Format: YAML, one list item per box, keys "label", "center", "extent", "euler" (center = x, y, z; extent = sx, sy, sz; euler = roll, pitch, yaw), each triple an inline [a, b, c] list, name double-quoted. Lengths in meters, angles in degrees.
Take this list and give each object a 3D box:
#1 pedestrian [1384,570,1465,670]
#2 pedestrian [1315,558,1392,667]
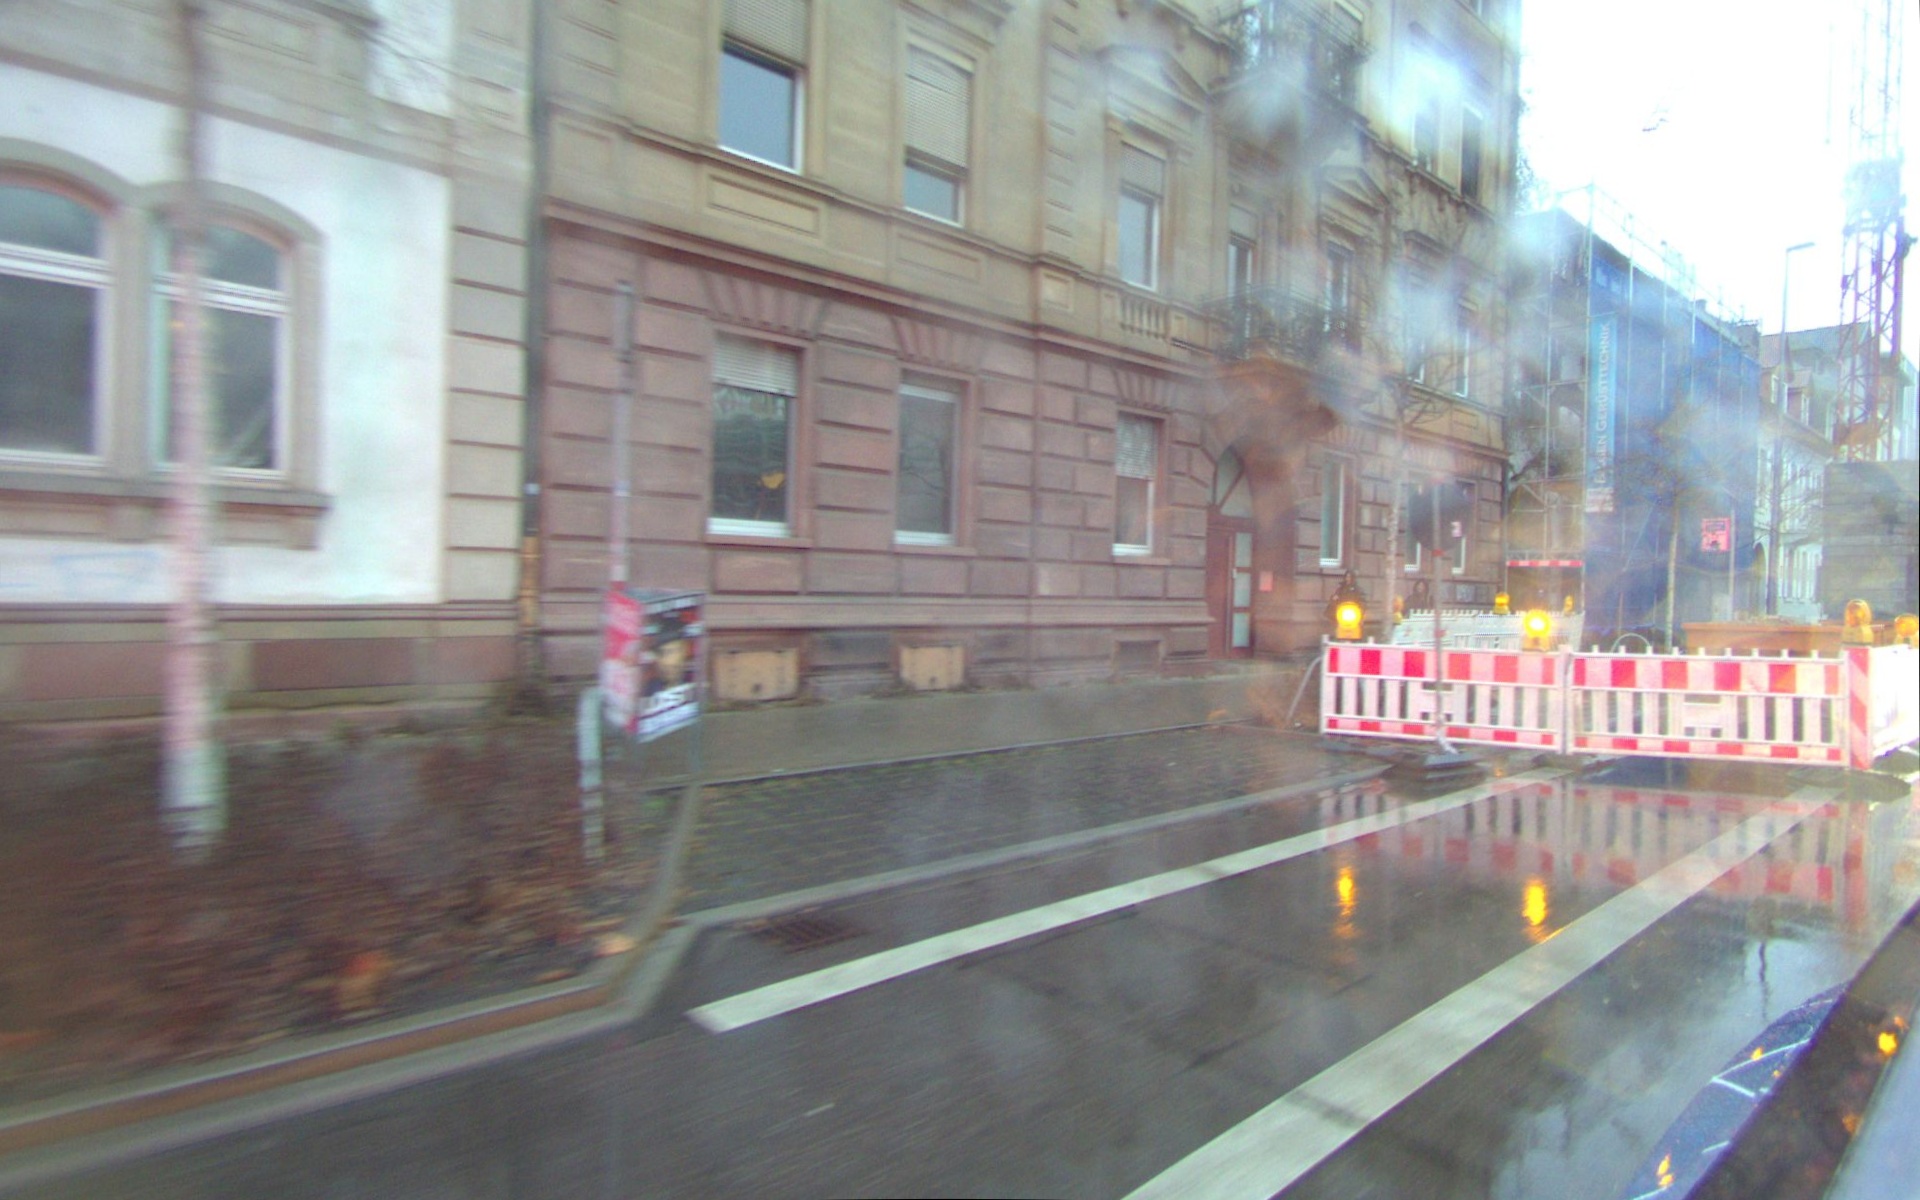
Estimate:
- label: "pedestrian"
  center: [7.681, 0.309, 16.739]
  extent: [0.913, 1.564, 0.870]
  euler: [1, 2, -40]
- label: "pedestrian"
  center: [6.366, 0.189, 16.378]
  extent: [0.694, 1.693, 0.870]
  euler: [1, 2, -39]
